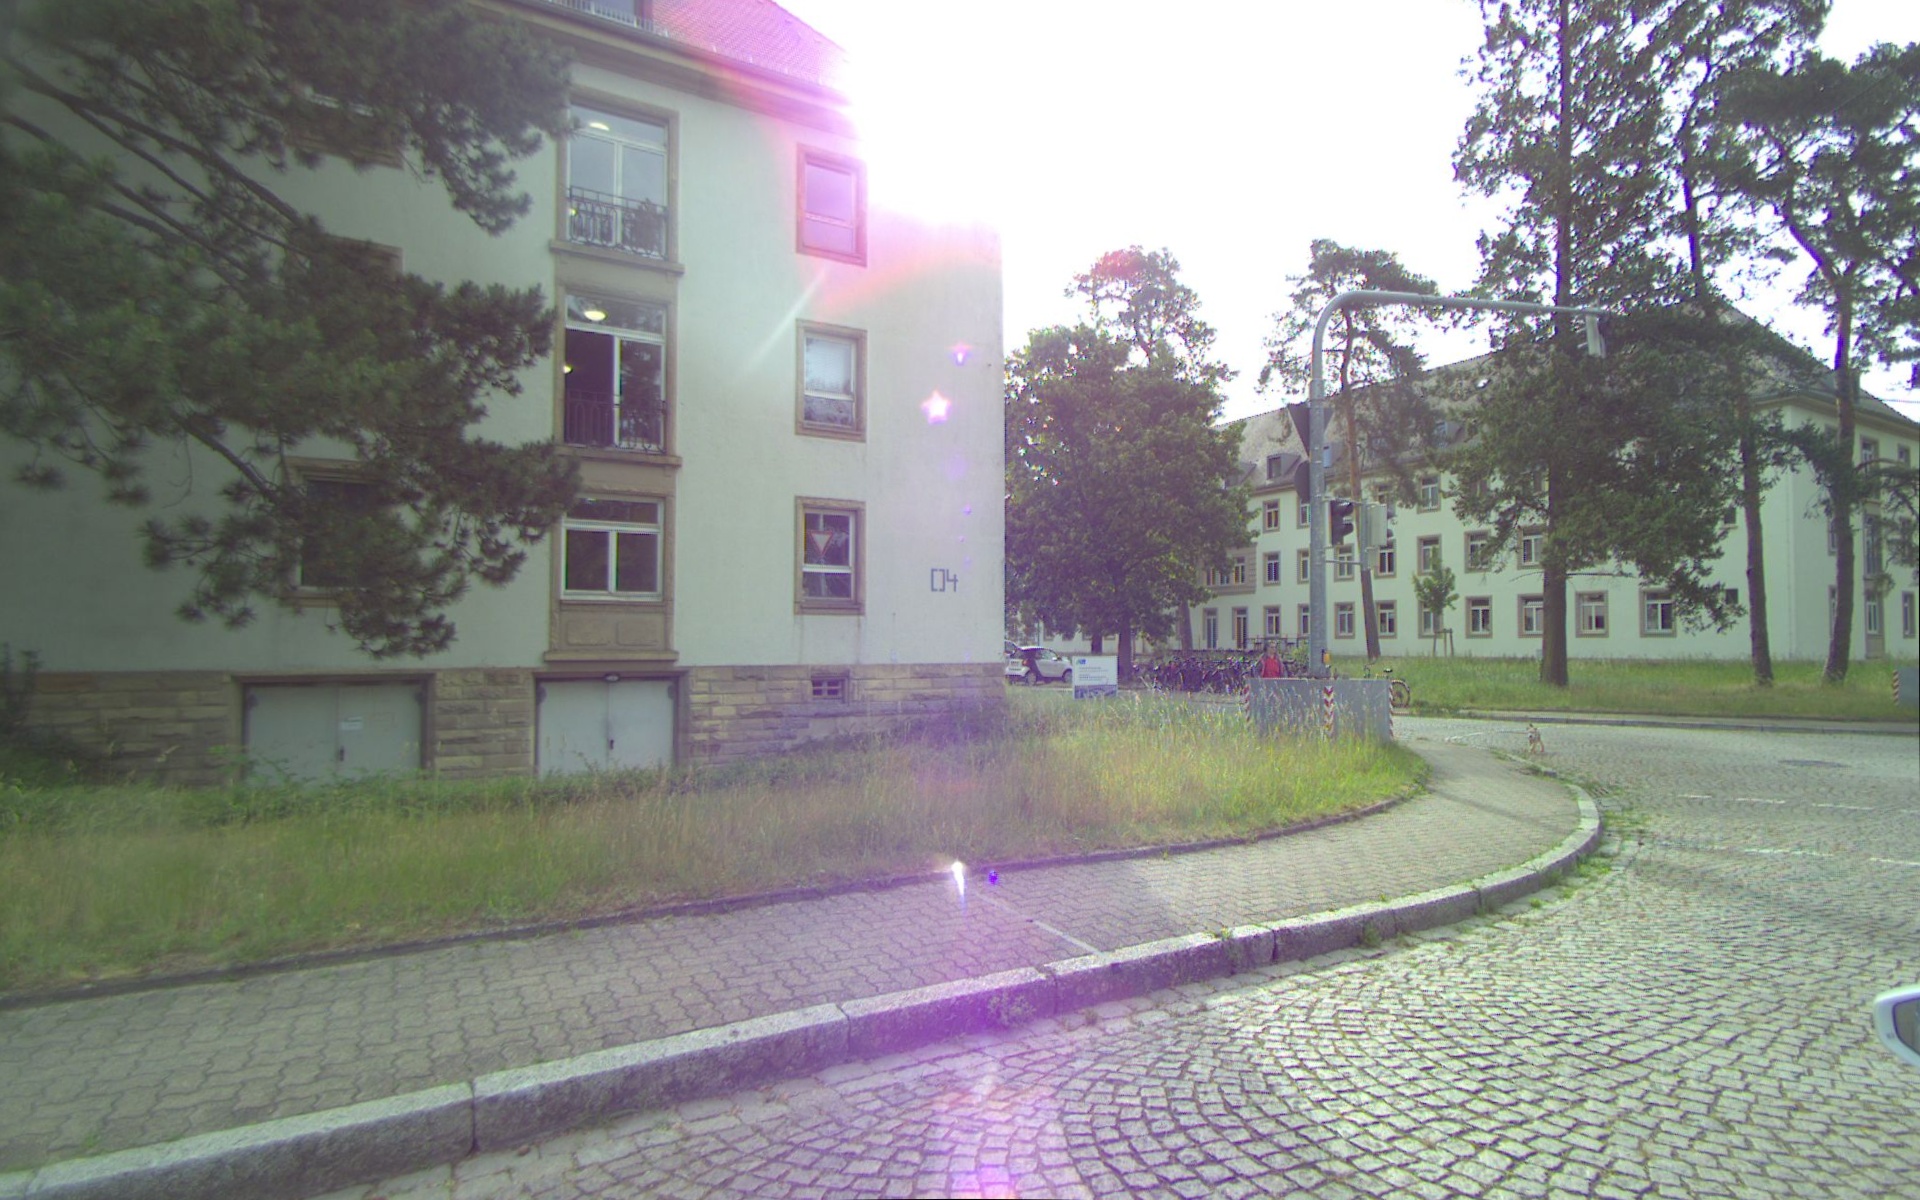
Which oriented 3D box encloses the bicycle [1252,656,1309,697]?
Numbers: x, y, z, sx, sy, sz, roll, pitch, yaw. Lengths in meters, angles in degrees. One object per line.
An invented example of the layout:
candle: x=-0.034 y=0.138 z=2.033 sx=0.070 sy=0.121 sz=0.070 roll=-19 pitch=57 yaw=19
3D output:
bicycle: x=9.678 y=2.281 z=30.309 sx=1.909 sy=1.193 sz=0.525 roll=2 pitch=-3 yaw=-32

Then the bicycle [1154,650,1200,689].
bicycle: x=7.378 y=2.354 z=34.102 sx=1.677 sy=1.300 sz=0.447 roll=2 pitch=-3 yaw=-32

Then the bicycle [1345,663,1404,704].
bicycle: x=10.648 y=2.136 z=25.835 sx=0.447 sy=1.009 sz=1.453 roll=1 pitch=-3 yaw=-28

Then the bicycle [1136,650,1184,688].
bicycle: x=6.971 y=2.374 z=34.945 sx=1.807 sy=1.300 sz=0.447 roll=2 pitch=-3 yaw=-32

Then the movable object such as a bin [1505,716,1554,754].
movable object such as a bin: x=8.692 y=2.047 z=15.322 sx=0.747 sy=0.510 sz=0.439 roll=2 pitch=-4 yaw=-43

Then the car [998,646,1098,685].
car: x=3.721 y=2.739 z=42.255 sx=3.851 sy=1.576 sz=1.831 roll=2 pitch=-3 yaw=-30

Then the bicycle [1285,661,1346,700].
bicycle: x=10.351 y=2.326 z=29.223 sx=1.974 sy=1.092 sz=0.572 roll=2 pitch=-3 yaw=-32

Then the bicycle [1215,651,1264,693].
bicycle: x=8.856 y=2.259 z=31.809 sx=1.677 sy=1.300 sz=0.447 roll=2 pitch=-3 yaw=-32

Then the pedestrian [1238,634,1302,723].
pedestrian: x=6.069 y=1.521 z=19.718 sx=0.922 sy=1.690 sz=0.862 roll=0 pitch=-2 yaw=-6

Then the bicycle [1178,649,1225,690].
bicycle: x=7.981 y=2.282 z=33.125 sx=1.677 sy=1.300 sz=0.447 roll=2 pitch=-3 yaw=-32

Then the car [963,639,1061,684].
car: x=2.327 y=2.707 z=44.891 sx=4.087 sy=1.932 sz=1.831 roll=2 pitch=-3 yaw=-30

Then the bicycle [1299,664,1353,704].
bicycle: x=9.873 y=2.255 z=27.144 sx=0.447 sy=1.009 sz=1.453 roll=1 pitch=-3 yaw=-28

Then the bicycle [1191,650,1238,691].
bicycle: x=8.279 y=2.273 z=32.649 sx=1.677 sy=1.300 sz=0.447 roll=2 pitch=-3 yaw=-32

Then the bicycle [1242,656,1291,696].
bicycle: x=9.376 y=2.301 z=30.723 sx=1.677 sy=1.193 sz=0.447 roll=2 pitch=-3 yaw=-32

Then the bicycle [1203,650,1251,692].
bicycle: x=8.571 y=2.266 z=32.225 sx=1.677 sy=1.300 sz=0.447 roll=2 pitch=-3 yaw=-32

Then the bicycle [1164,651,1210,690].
bicycle: x=7.629 y=2.347 z=33.686 sx=1.677 sy=1.300 sz=0.447 roll=2 pitch=-3 yaw=-32

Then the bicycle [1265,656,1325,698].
bicycle: x=9.944 y=2.270 z=29.788 sx=1.932 sy=1.193 sz=0.572 roll=2 pitch=-3 yaw=-32

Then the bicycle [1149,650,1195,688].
bicycle: x=7.312 y=2.370 z=34.611 sx=1.765 sy=1.300 sz=0.440 roll=2 pitch=-3 yaw=-32
